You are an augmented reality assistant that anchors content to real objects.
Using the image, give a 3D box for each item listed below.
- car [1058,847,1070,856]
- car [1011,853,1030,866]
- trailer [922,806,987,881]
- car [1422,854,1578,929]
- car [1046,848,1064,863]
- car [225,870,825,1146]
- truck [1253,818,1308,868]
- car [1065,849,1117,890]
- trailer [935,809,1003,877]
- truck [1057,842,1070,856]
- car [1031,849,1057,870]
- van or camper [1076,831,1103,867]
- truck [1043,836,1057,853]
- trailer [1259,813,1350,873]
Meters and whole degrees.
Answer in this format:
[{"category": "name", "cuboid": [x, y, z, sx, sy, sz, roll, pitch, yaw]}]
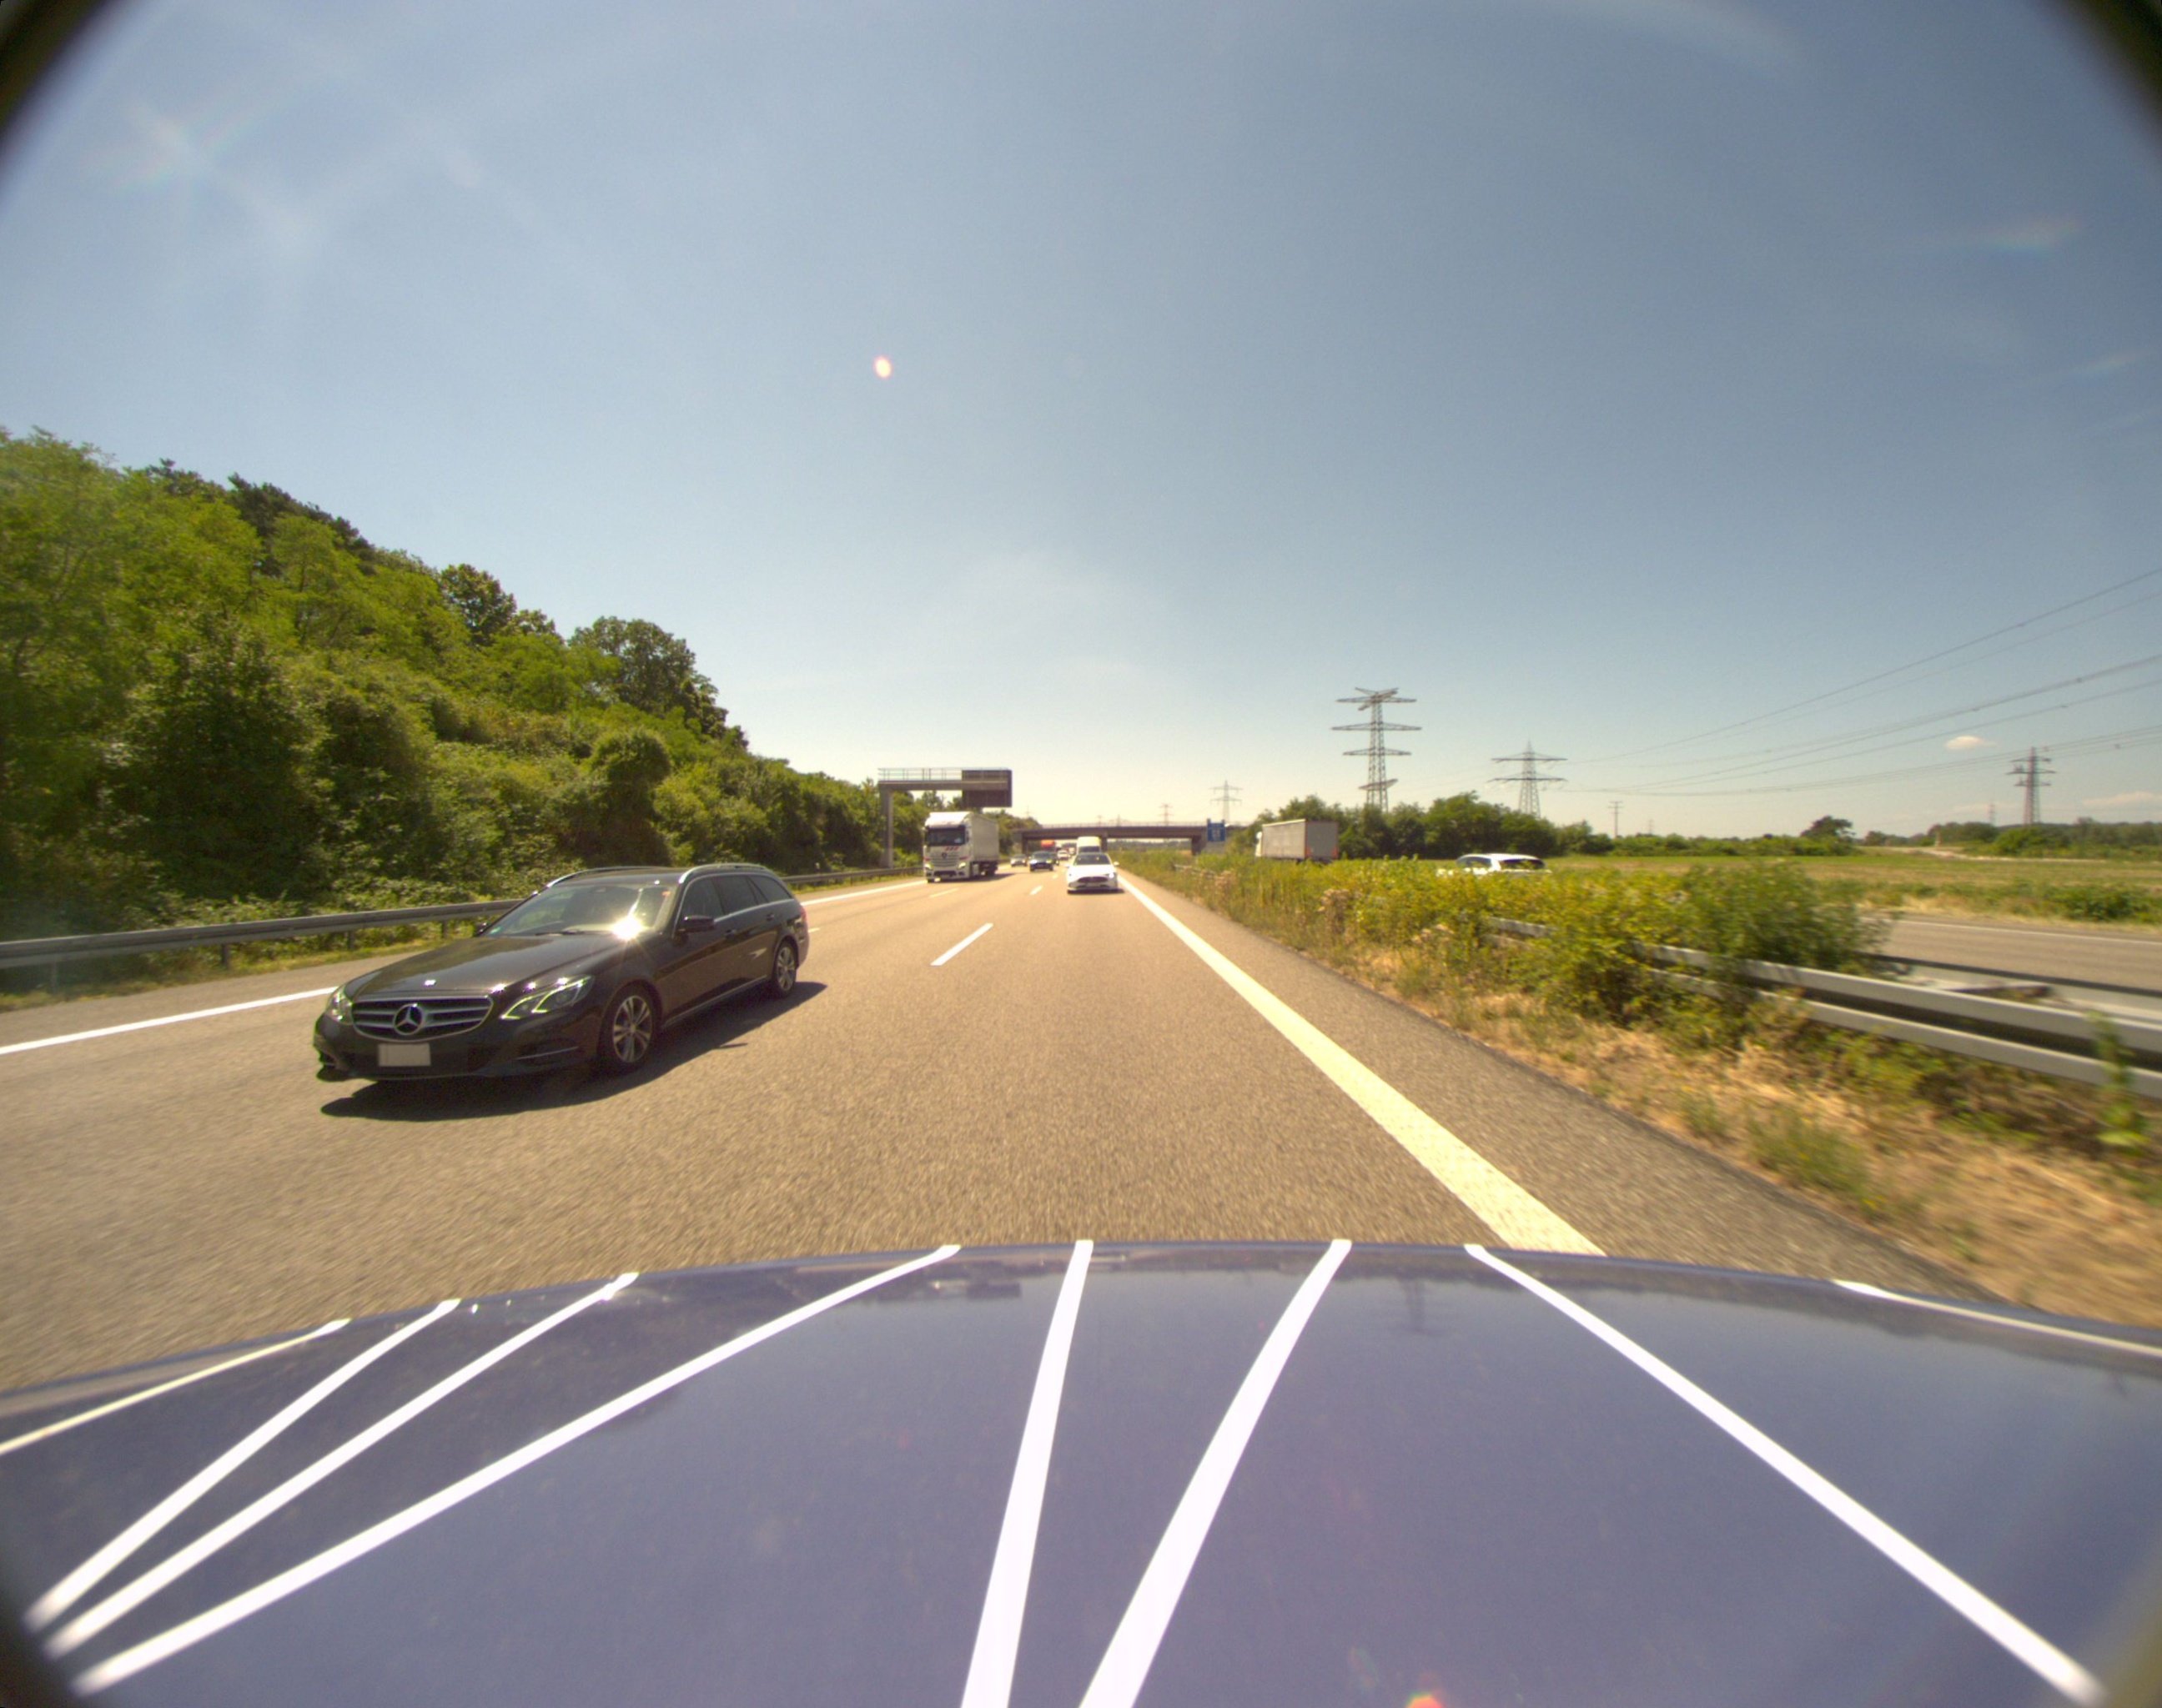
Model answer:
[{"category": "car", "cuboid": [-2.926, -0.436, 131.371, 1.984, 1.525, 4.137, -1, 0, 0]}, {"category": "car", "cuboid": [-7.036, 0.572, 88.882, 1.840, 1.403, 4.558, -2, 0, 0]}, {"category": "trailer", "cuboid": [-7.442, -0.617, 45.664, 2.720, 4.079, 6.788, -1, 1, 0]}, {"category": "car", "cuboid": [12.056, 0.985, 22.316, 1.998, 1.932, 4.725, 0, 1, 1]}, {"category": "car", "cuboid": [-3.008, 0.155, 87.899, 1.984, 1.671, 4.557, 0, 1, 0]}, {"category": "car", "cuboid": [-4.120, 0.969, 6.902, 1.846, 1.496, 4.738, -2, 0, 1]}, {"category": "truck", "cuboid": [18.364, -0.980, 70.480, 3.376, 4.383, 6.555, 1, 1, 1]}, {"category": "car", "cuboid": [0.365, 0.600, 31.925, 1.984, 1.525, 4.558, -2, 0, 0]}, {"category": "trailer", "cuboid": [-7.495, -0.715, 52.758, 2.735, 4.079, 13.187, -1, 1, 0]}, {"category": "truck", "cuboid": [-5.221, -1.531, 225.913, 3.507, 3.891, 9.645, -1, 1, -1]}, {"category": "car", "cuboid": [-3.067, 0.467, 64.055, 1.984, 1.671, 4.558, -1, 0, 0]}, {"category": "van or camper", "cuboid": [0.771, -0.386, 62.011, 1.998, 2.741, 5.410, -2, 1, 2]}, {"category": "truck", "cuboid": [-6.428, -1.991, 158.911, 2.582, 3.204, 5.712, -3, 1, -1]}, {"category": "trailer", "cuboid": [18.329, -0.883, 63.771, 3.376, 4.383, 14.318, 1, 1, 0]}]
